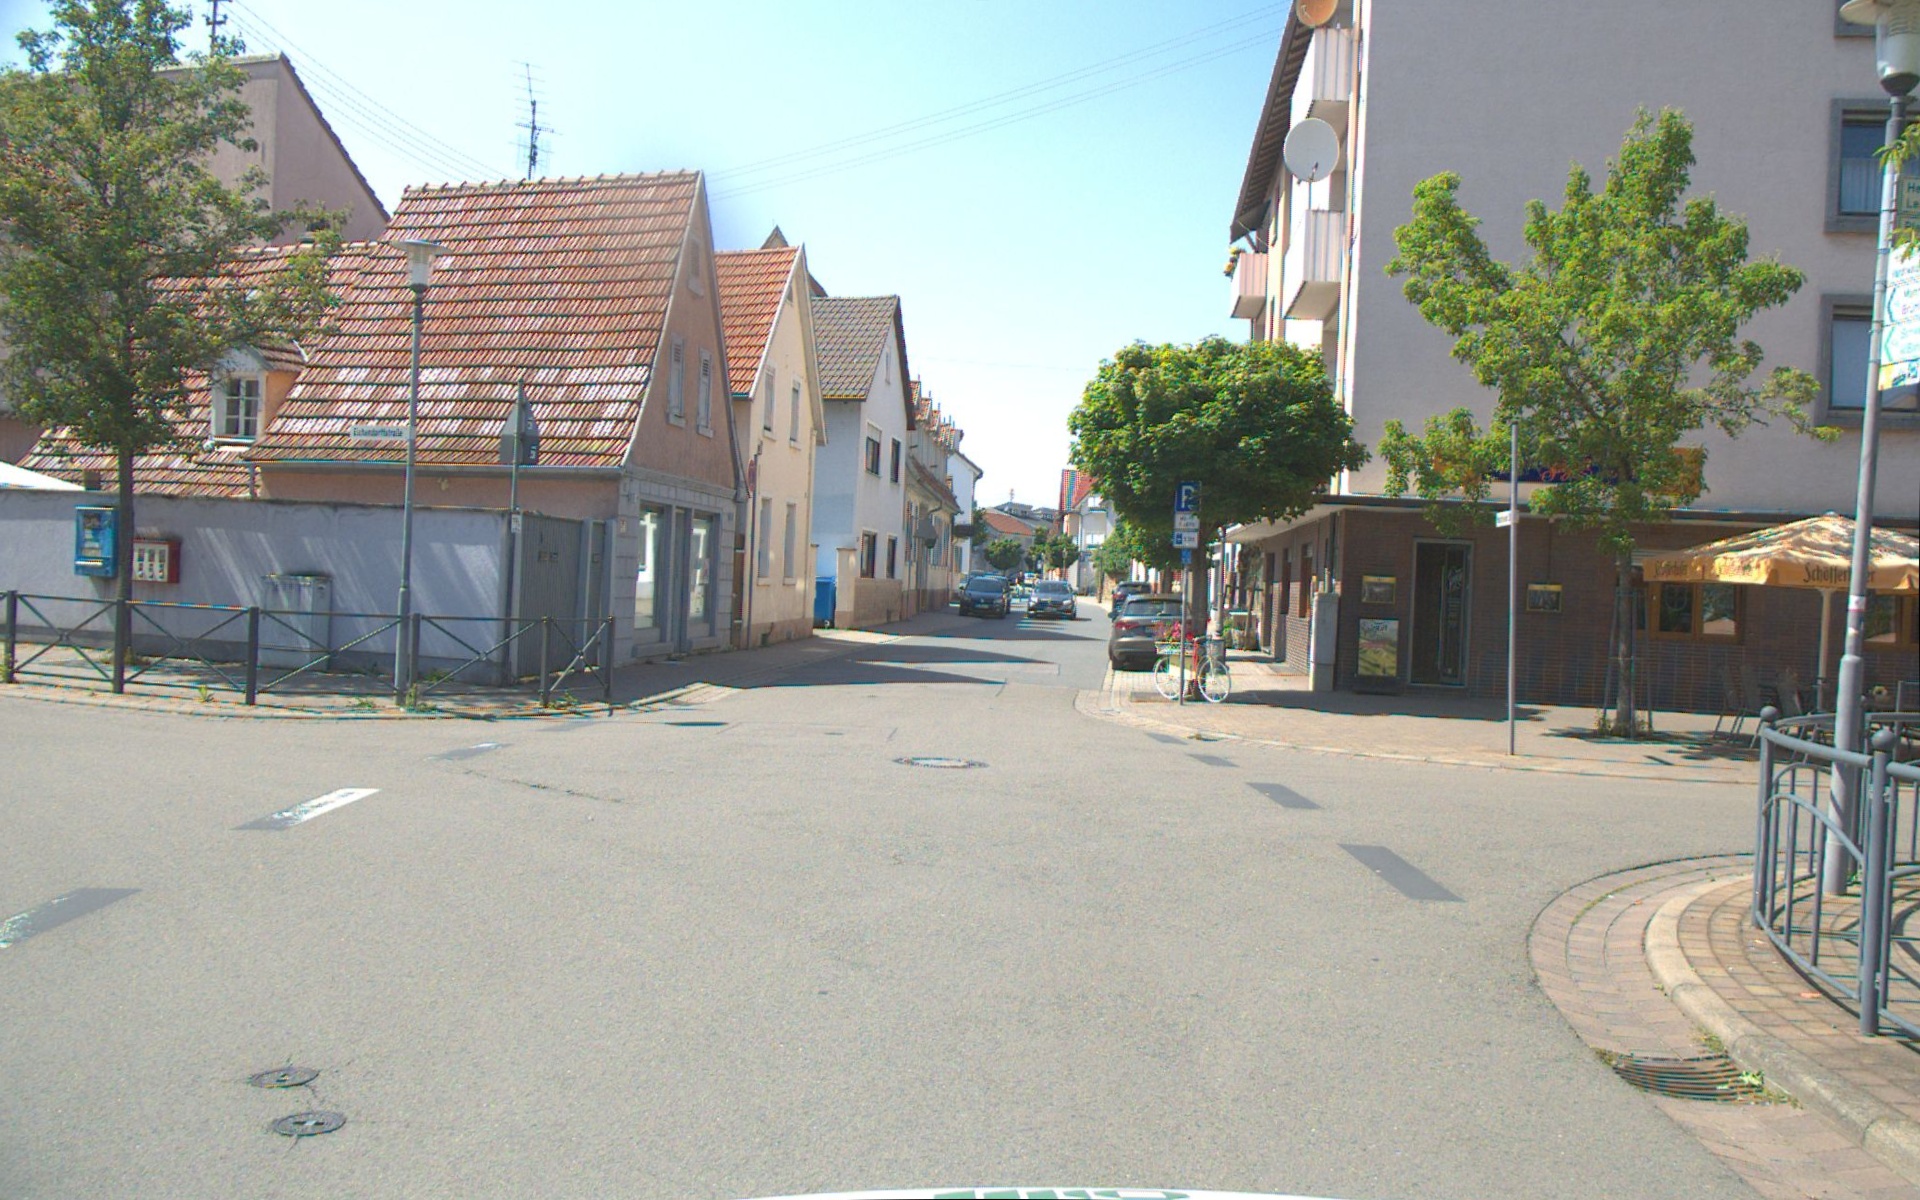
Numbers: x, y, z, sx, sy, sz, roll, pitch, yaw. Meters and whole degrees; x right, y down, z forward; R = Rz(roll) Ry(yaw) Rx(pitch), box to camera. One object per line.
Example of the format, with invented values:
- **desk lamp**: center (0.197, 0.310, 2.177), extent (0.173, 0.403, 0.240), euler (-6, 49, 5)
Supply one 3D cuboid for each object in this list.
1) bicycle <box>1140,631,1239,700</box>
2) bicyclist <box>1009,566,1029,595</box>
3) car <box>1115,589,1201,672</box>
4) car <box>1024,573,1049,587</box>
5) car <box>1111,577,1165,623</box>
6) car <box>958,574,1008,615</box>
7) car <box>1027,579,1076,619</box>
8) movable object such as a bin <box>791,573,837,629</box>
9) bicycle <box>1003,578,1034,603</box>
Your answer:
- **bicycle**: center (3.273, 0.926, 23.646), extent (1.389, 0.912, 0.462), euler (1, 1, 42)
- **bicyclist**: center (3.448, -1.147, 96.787), extent (1.025, 1.666, 1.128), euler (2, 1, -1)
- **car**: center (3.857, 0.555, 32.259), extent (1.542, 1.479, 3.488), euler (2, 1, 7)
- **car**: center (9.065, -2.326, 195.382), extent (1.984, 1.626, 4.512), euler (2, 1, 14)
- **car**: center (7.053, -0.021, 65.997), extent (2.000, 1.718, 4.845), euler (2, 1, 5)
- **car**: center (0.929, -0.226, 63.676), extent (1.628, 1.501, 4.137), euler (2, 1, 4)
- **car**: center (3.666, -0.032, 66.378), extent (1.869, 1.507, 4.846), euler (2, 0, 3)
- **movable object such as a bin**: center (-3.748, 0.019, 42.580), extent (1.078, 1.389, 0.390), euler (2, 0, 9)
- **bicycle**: center (3.383, -0.583, 96.782), extent (1.590, 1.394, 3.925), euler (2, 1, -1)
